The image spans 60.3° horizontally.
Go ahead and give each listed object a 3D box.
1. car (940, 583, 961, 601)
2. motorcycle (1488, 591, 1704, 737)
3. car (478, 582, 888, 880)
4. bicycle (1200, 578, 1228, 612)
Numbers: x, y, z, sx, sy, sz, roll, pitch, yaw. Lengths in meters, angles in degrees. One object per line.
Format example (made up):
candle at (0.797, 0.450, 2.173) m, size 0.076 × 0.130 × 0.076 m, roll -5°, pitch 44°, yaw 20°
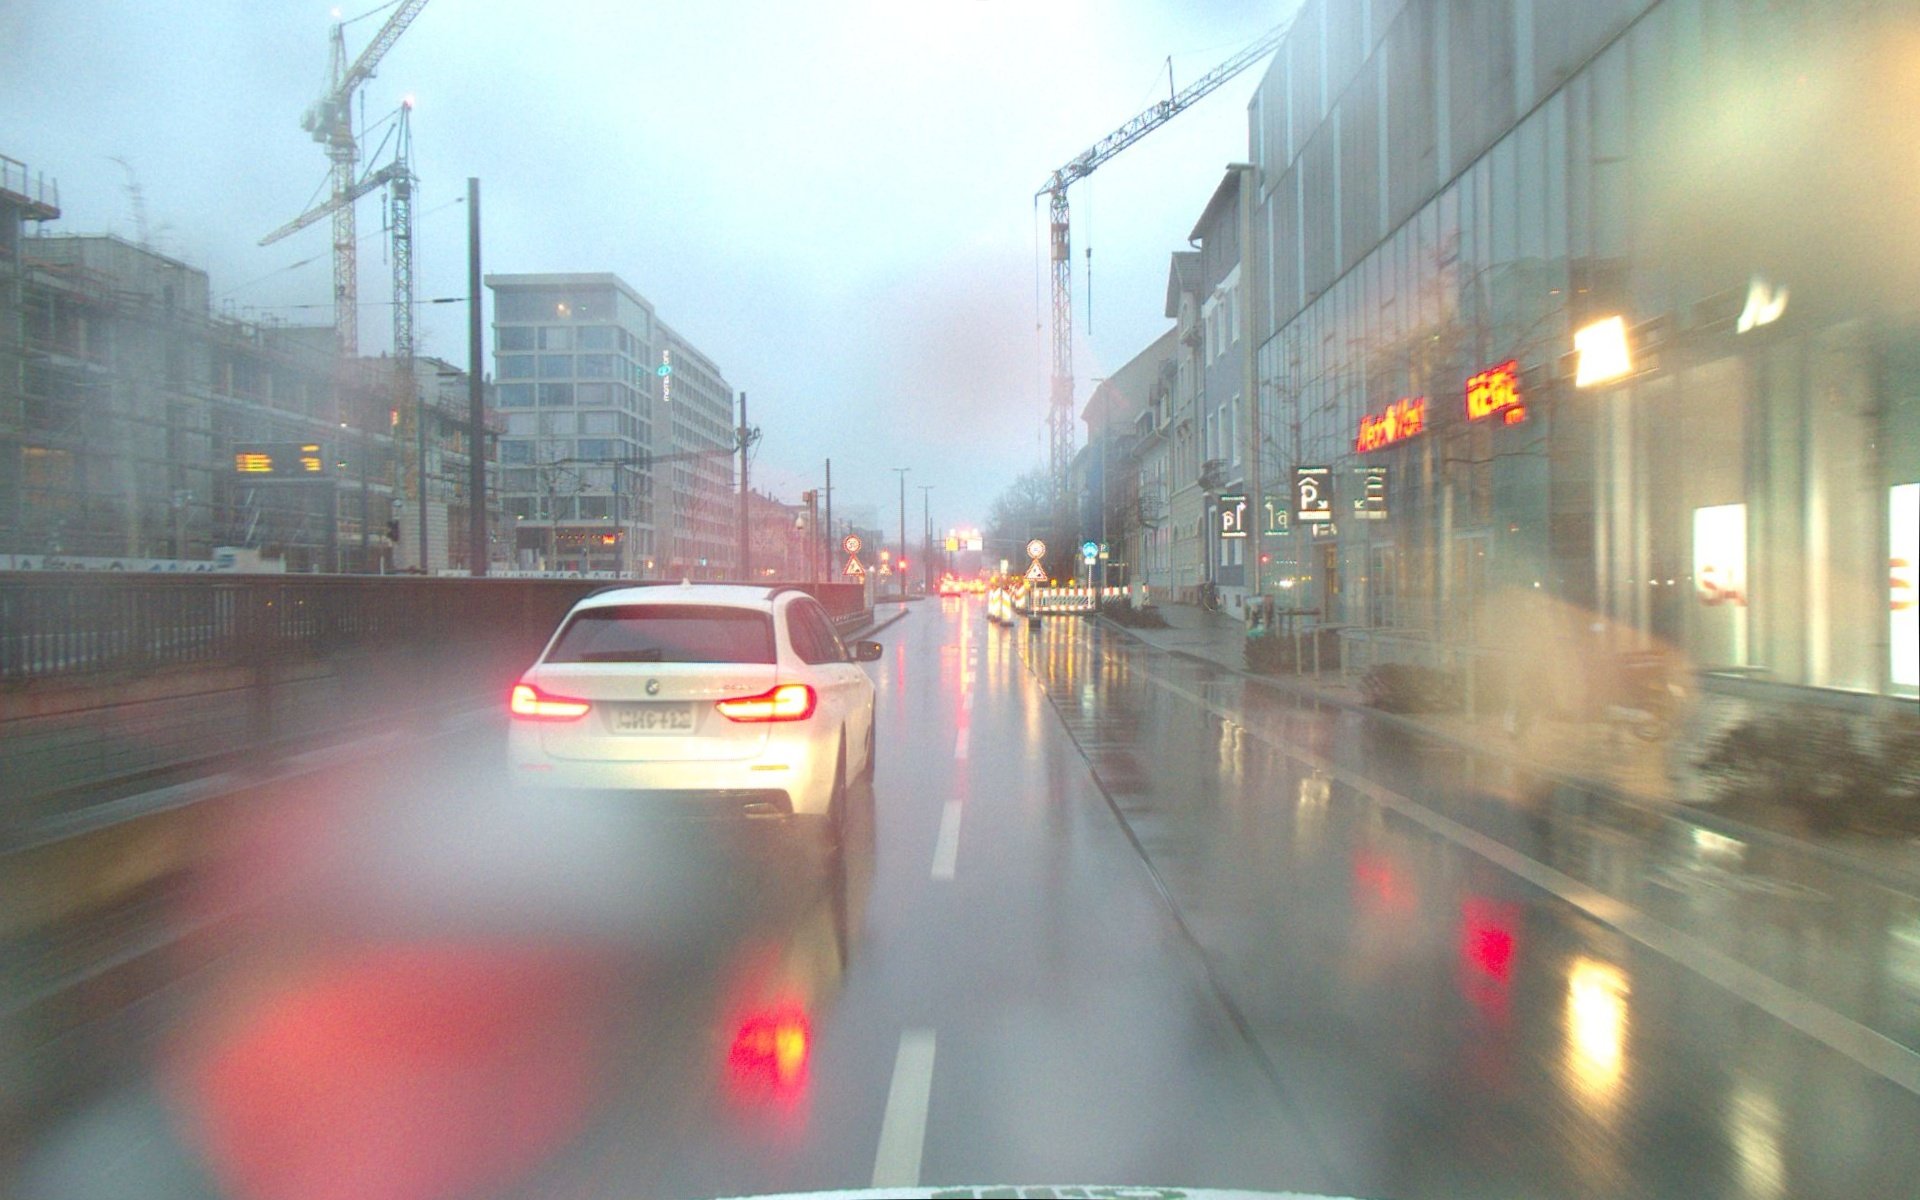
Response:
car at (-0.870, -0.747, 152.247) m, size 1.862 × 1.670 × 4.001 m, roll 0°, pitch 0°, yaw 1°
motorcycle at (6.205, 0.607, 16.195) m, size 1.875 × 1.357 × 0.592 m, roll -1°, pitch -1°, yaw 41°
car at (-1.498, 0.635, 10.772) m, size 1.814 × 1.491 × 4.947 m, roll 0°, pitch 0°, yaw 0°
bicycle at (9.686, -0.190, 63.132) m, size 0.668 × 1.243 × 1.905 m, roll -3°, pitch 0°, yaw 0°
